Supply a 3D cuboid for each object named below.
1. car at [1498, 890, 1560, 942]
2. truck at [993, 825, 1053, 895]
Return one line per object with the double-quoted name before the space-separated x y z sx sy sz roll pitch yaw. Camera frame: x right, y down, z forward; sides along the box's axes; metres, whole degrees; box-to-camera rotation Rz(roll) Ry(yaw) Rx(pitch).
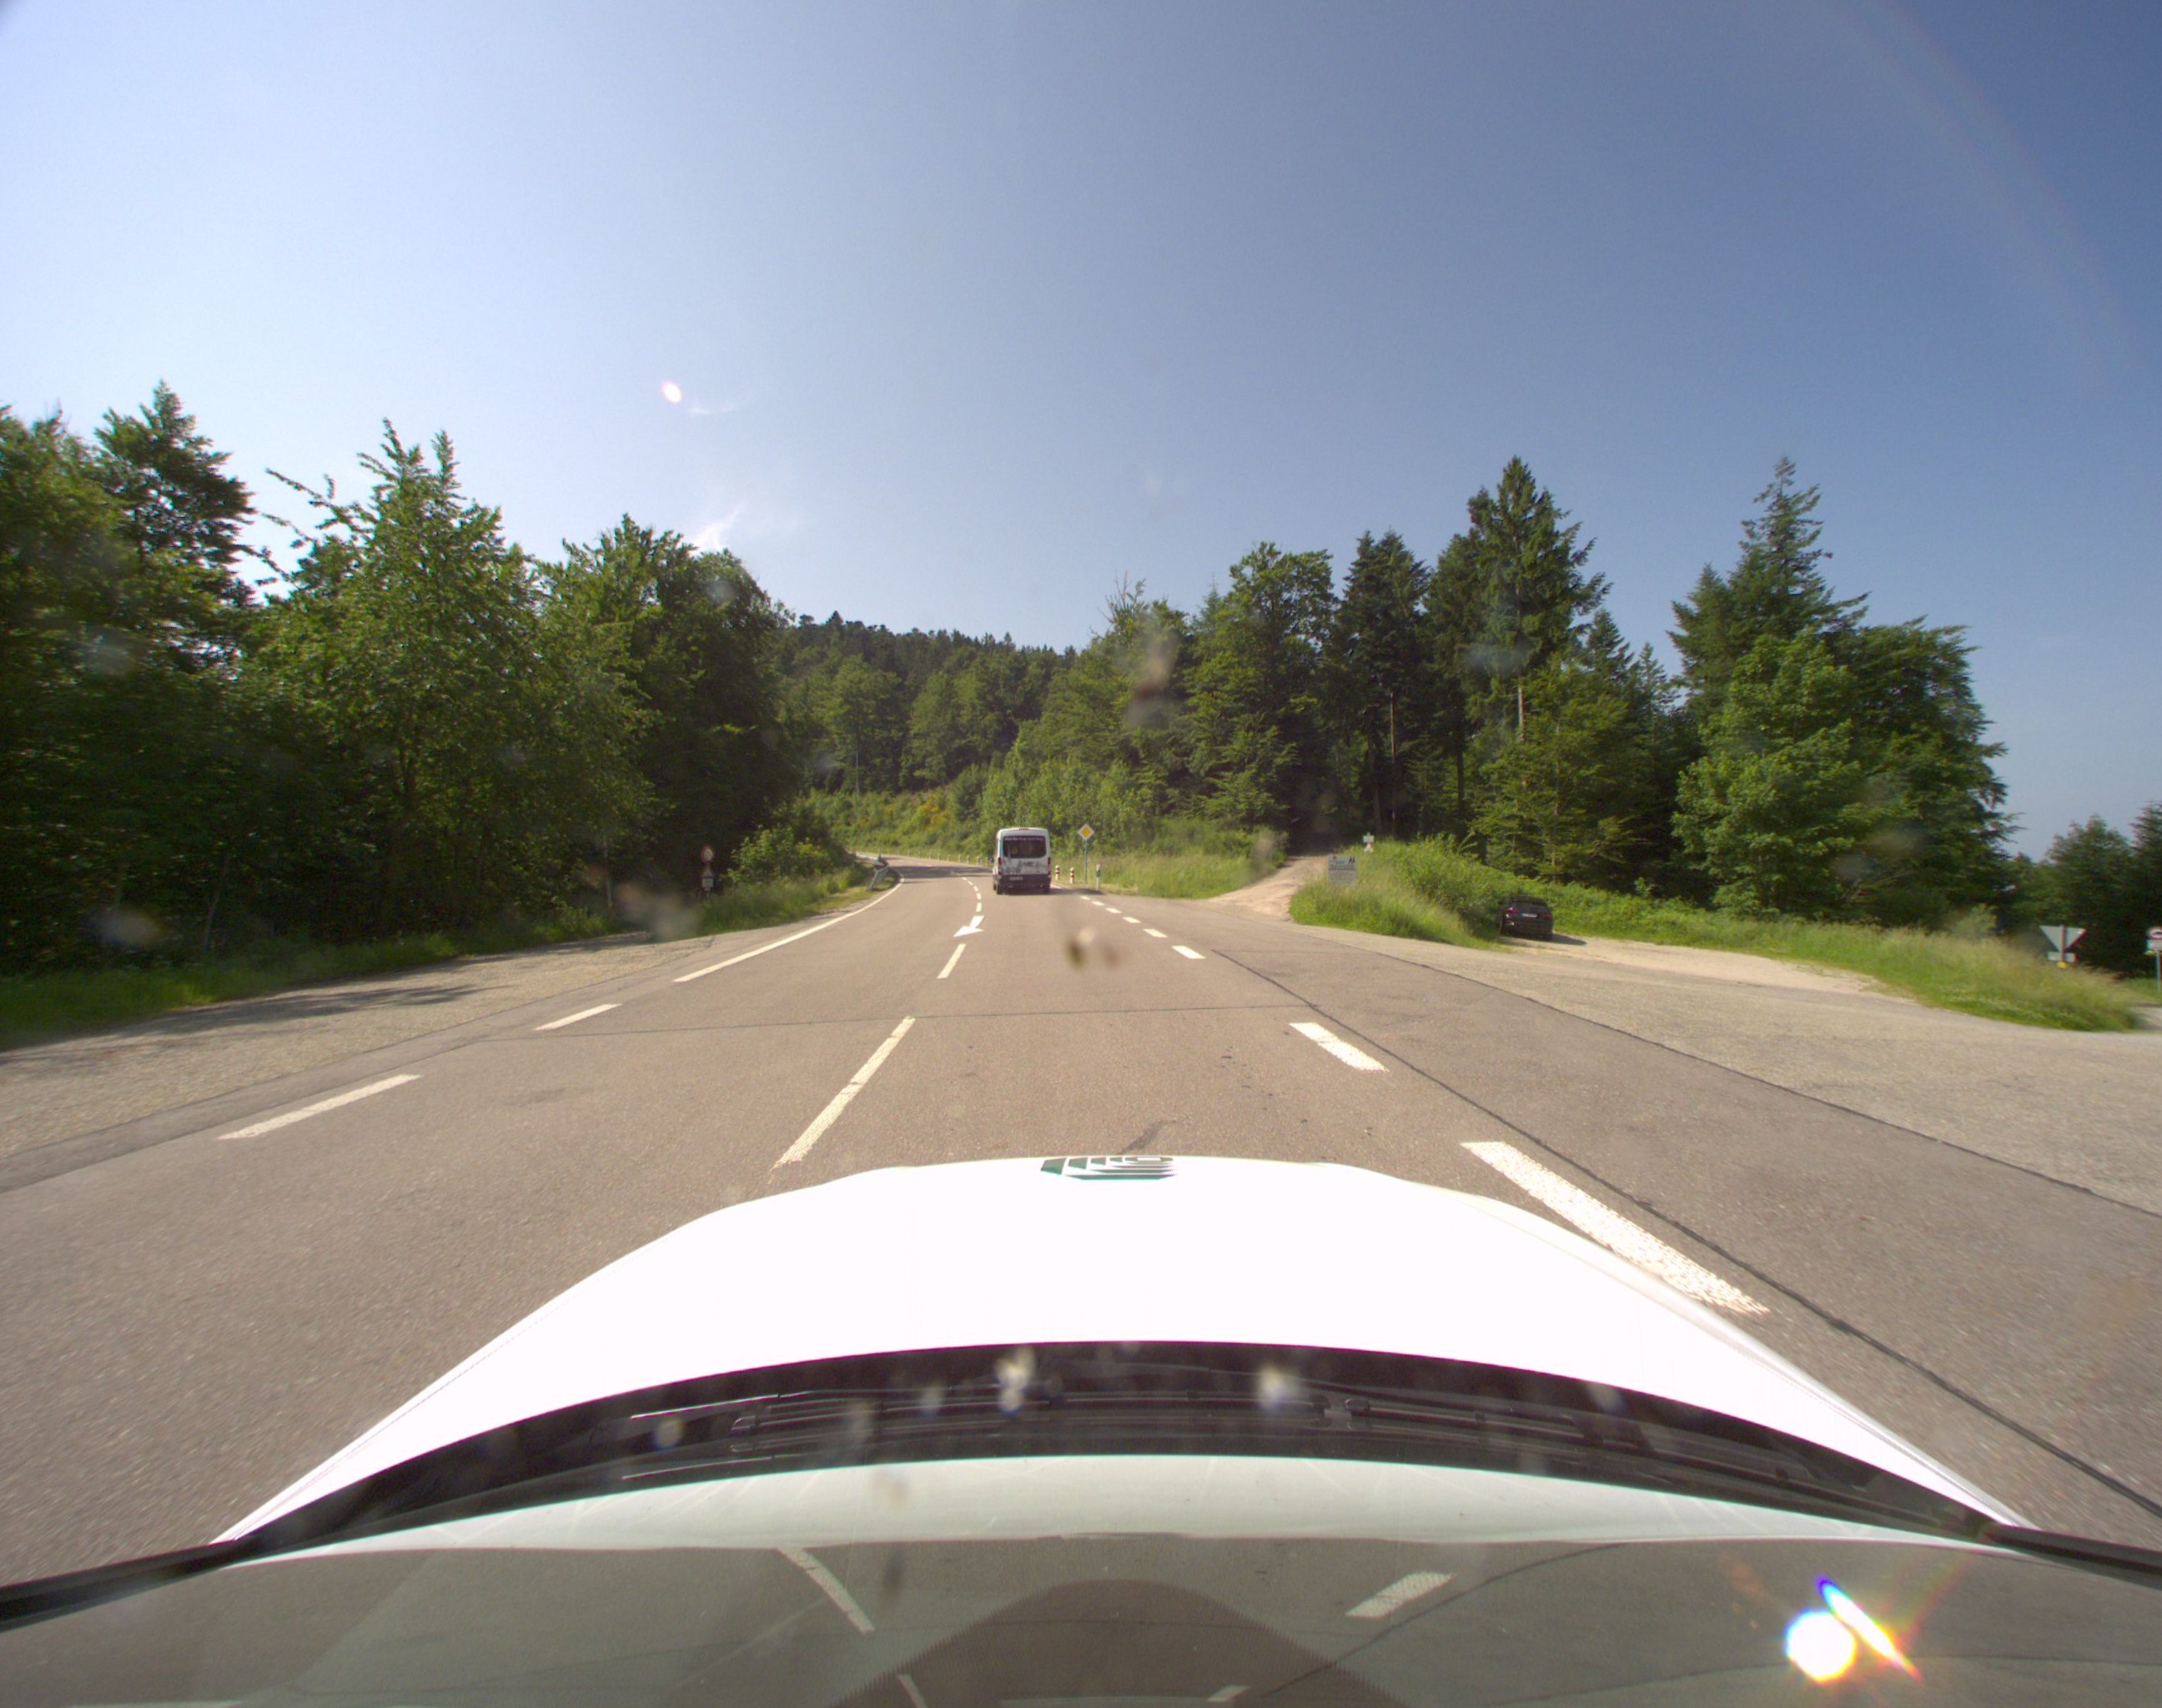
"car" 17.829 2.380 32.372 1.915 1.593 4.025 6 3 30
"truck" -2.361 0.209 32.021 2.113 2.498 5.347 -1 0 -6
